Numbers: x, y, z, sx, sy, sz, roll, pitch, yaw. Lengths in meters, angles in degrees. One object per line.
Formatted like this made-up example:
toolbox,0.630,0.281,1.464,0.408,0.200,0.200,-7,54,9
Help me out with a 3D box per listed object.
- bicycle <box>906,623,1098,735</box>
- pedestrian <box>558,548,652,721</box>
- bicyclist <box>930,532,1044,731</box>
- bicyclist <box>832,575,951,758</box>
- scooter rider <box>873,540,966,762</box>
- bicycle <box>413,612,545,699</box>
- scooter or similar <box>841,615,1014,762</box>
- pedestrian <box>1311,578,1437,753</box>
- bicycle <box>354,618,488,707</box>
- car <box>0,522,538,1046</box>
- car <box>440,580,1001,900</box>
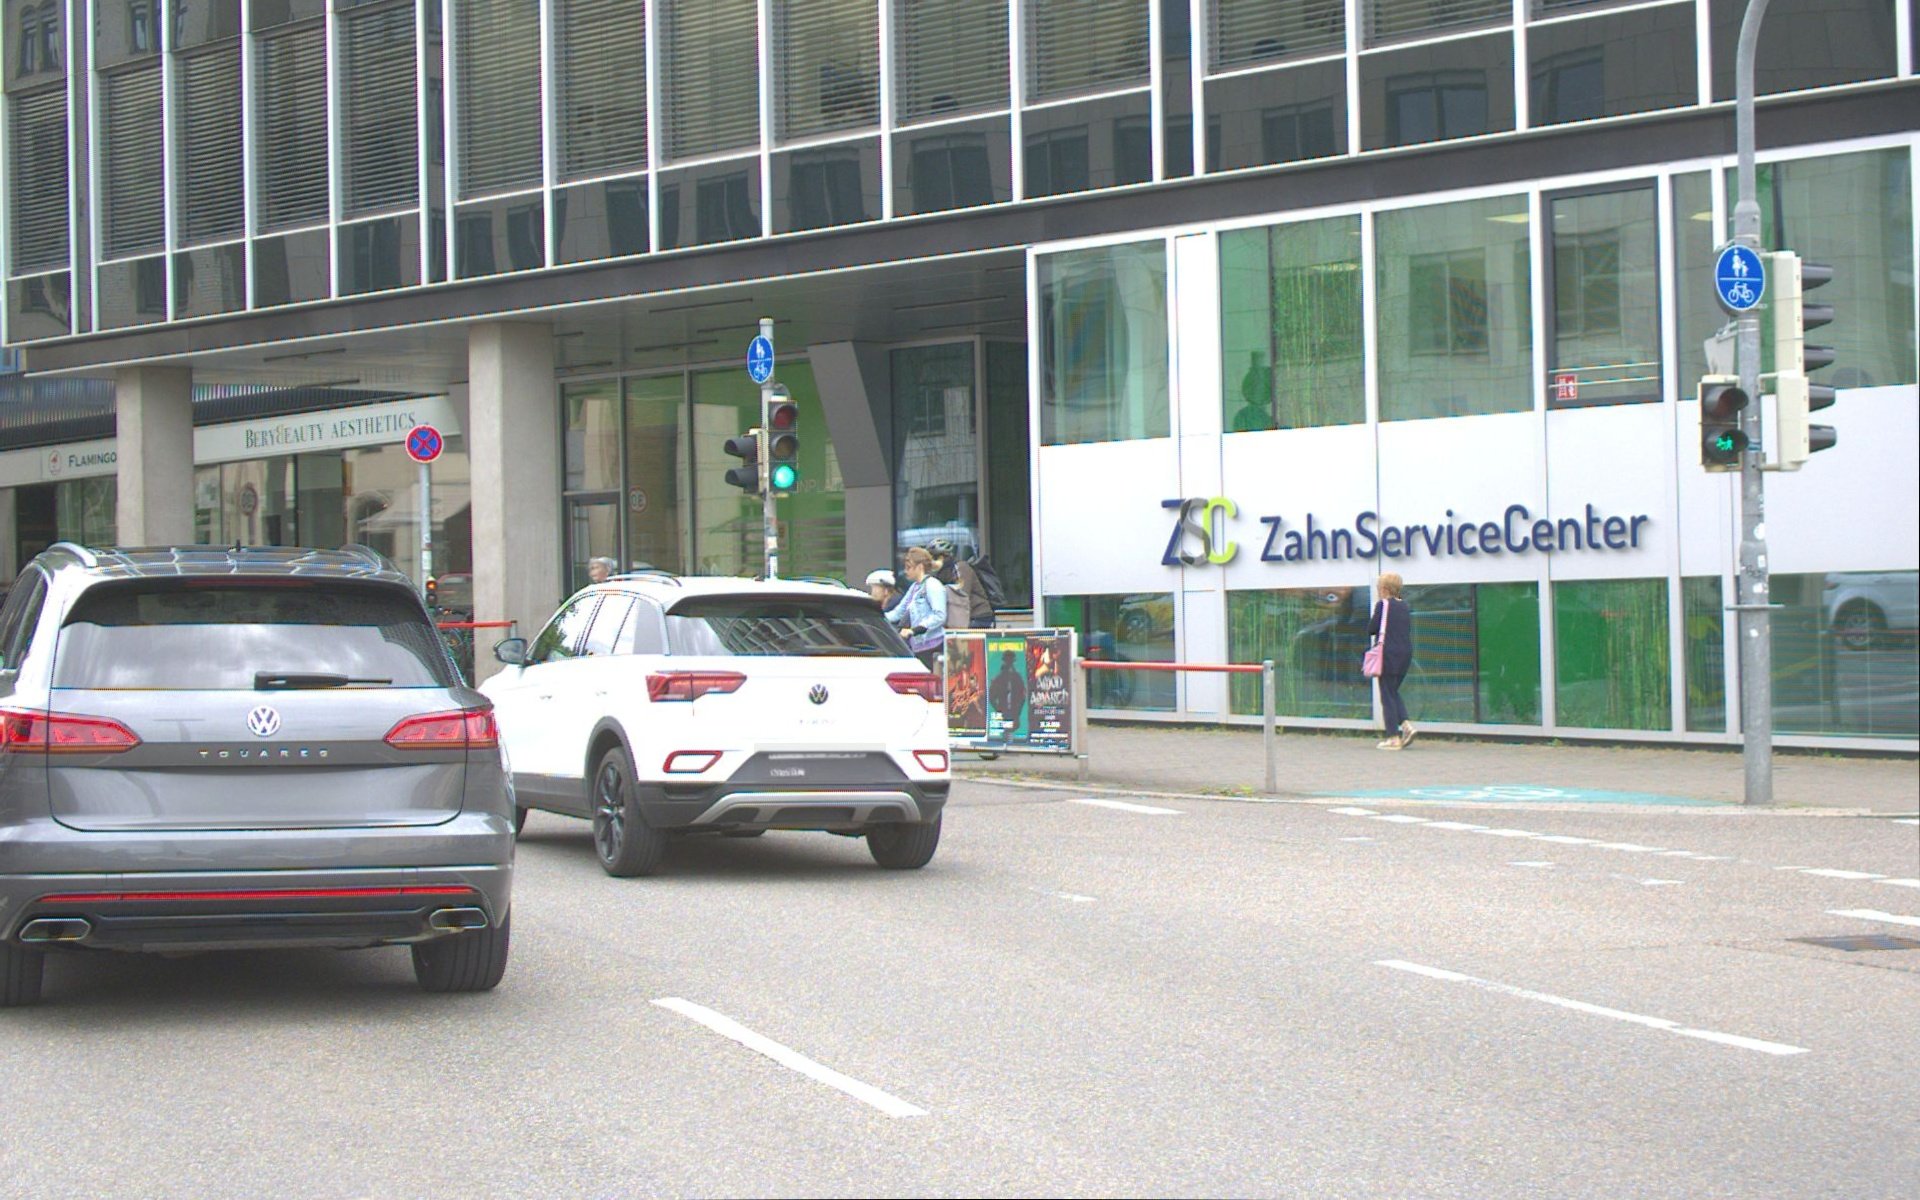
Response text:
bicycle,0.387,0.730,32.290,1.766,1.003,0.679,0,1,41
pedestrian,-3.580,0.347,34.659,0.752,1.706,0.525,-3,0,45
bicyclist,0.258,0.288,32.415,0.813,1.839,0.673,0,1,40
bicyclist,-0.588,0.571,29.651,0.844,1.544,0.565,-1,0,21
scooter rider,-0.327,0.414,28.318,0.641,1.802,0.593,-1,0,9
bicycle,-5.921,0.671,42.335,1.484,1.044,0.713,0,0,29
scooter or similar,-0.264,0.723,28.310,1.320,1.172,0.593,-1,0,9
pedestrian,3.492,0.542,29.026,0.604,1.438,0.838,-2,1,-44
bicycle,-6.558,0.752,41.803,1.484,1.044,0.713,0,0,29
car,-3.005,0.570,13.485,1.969,1.690,4.226,-1,1,-17
car,-1.437,0.678,18.999,1.797,1.540,3.936,-1,1,-25
